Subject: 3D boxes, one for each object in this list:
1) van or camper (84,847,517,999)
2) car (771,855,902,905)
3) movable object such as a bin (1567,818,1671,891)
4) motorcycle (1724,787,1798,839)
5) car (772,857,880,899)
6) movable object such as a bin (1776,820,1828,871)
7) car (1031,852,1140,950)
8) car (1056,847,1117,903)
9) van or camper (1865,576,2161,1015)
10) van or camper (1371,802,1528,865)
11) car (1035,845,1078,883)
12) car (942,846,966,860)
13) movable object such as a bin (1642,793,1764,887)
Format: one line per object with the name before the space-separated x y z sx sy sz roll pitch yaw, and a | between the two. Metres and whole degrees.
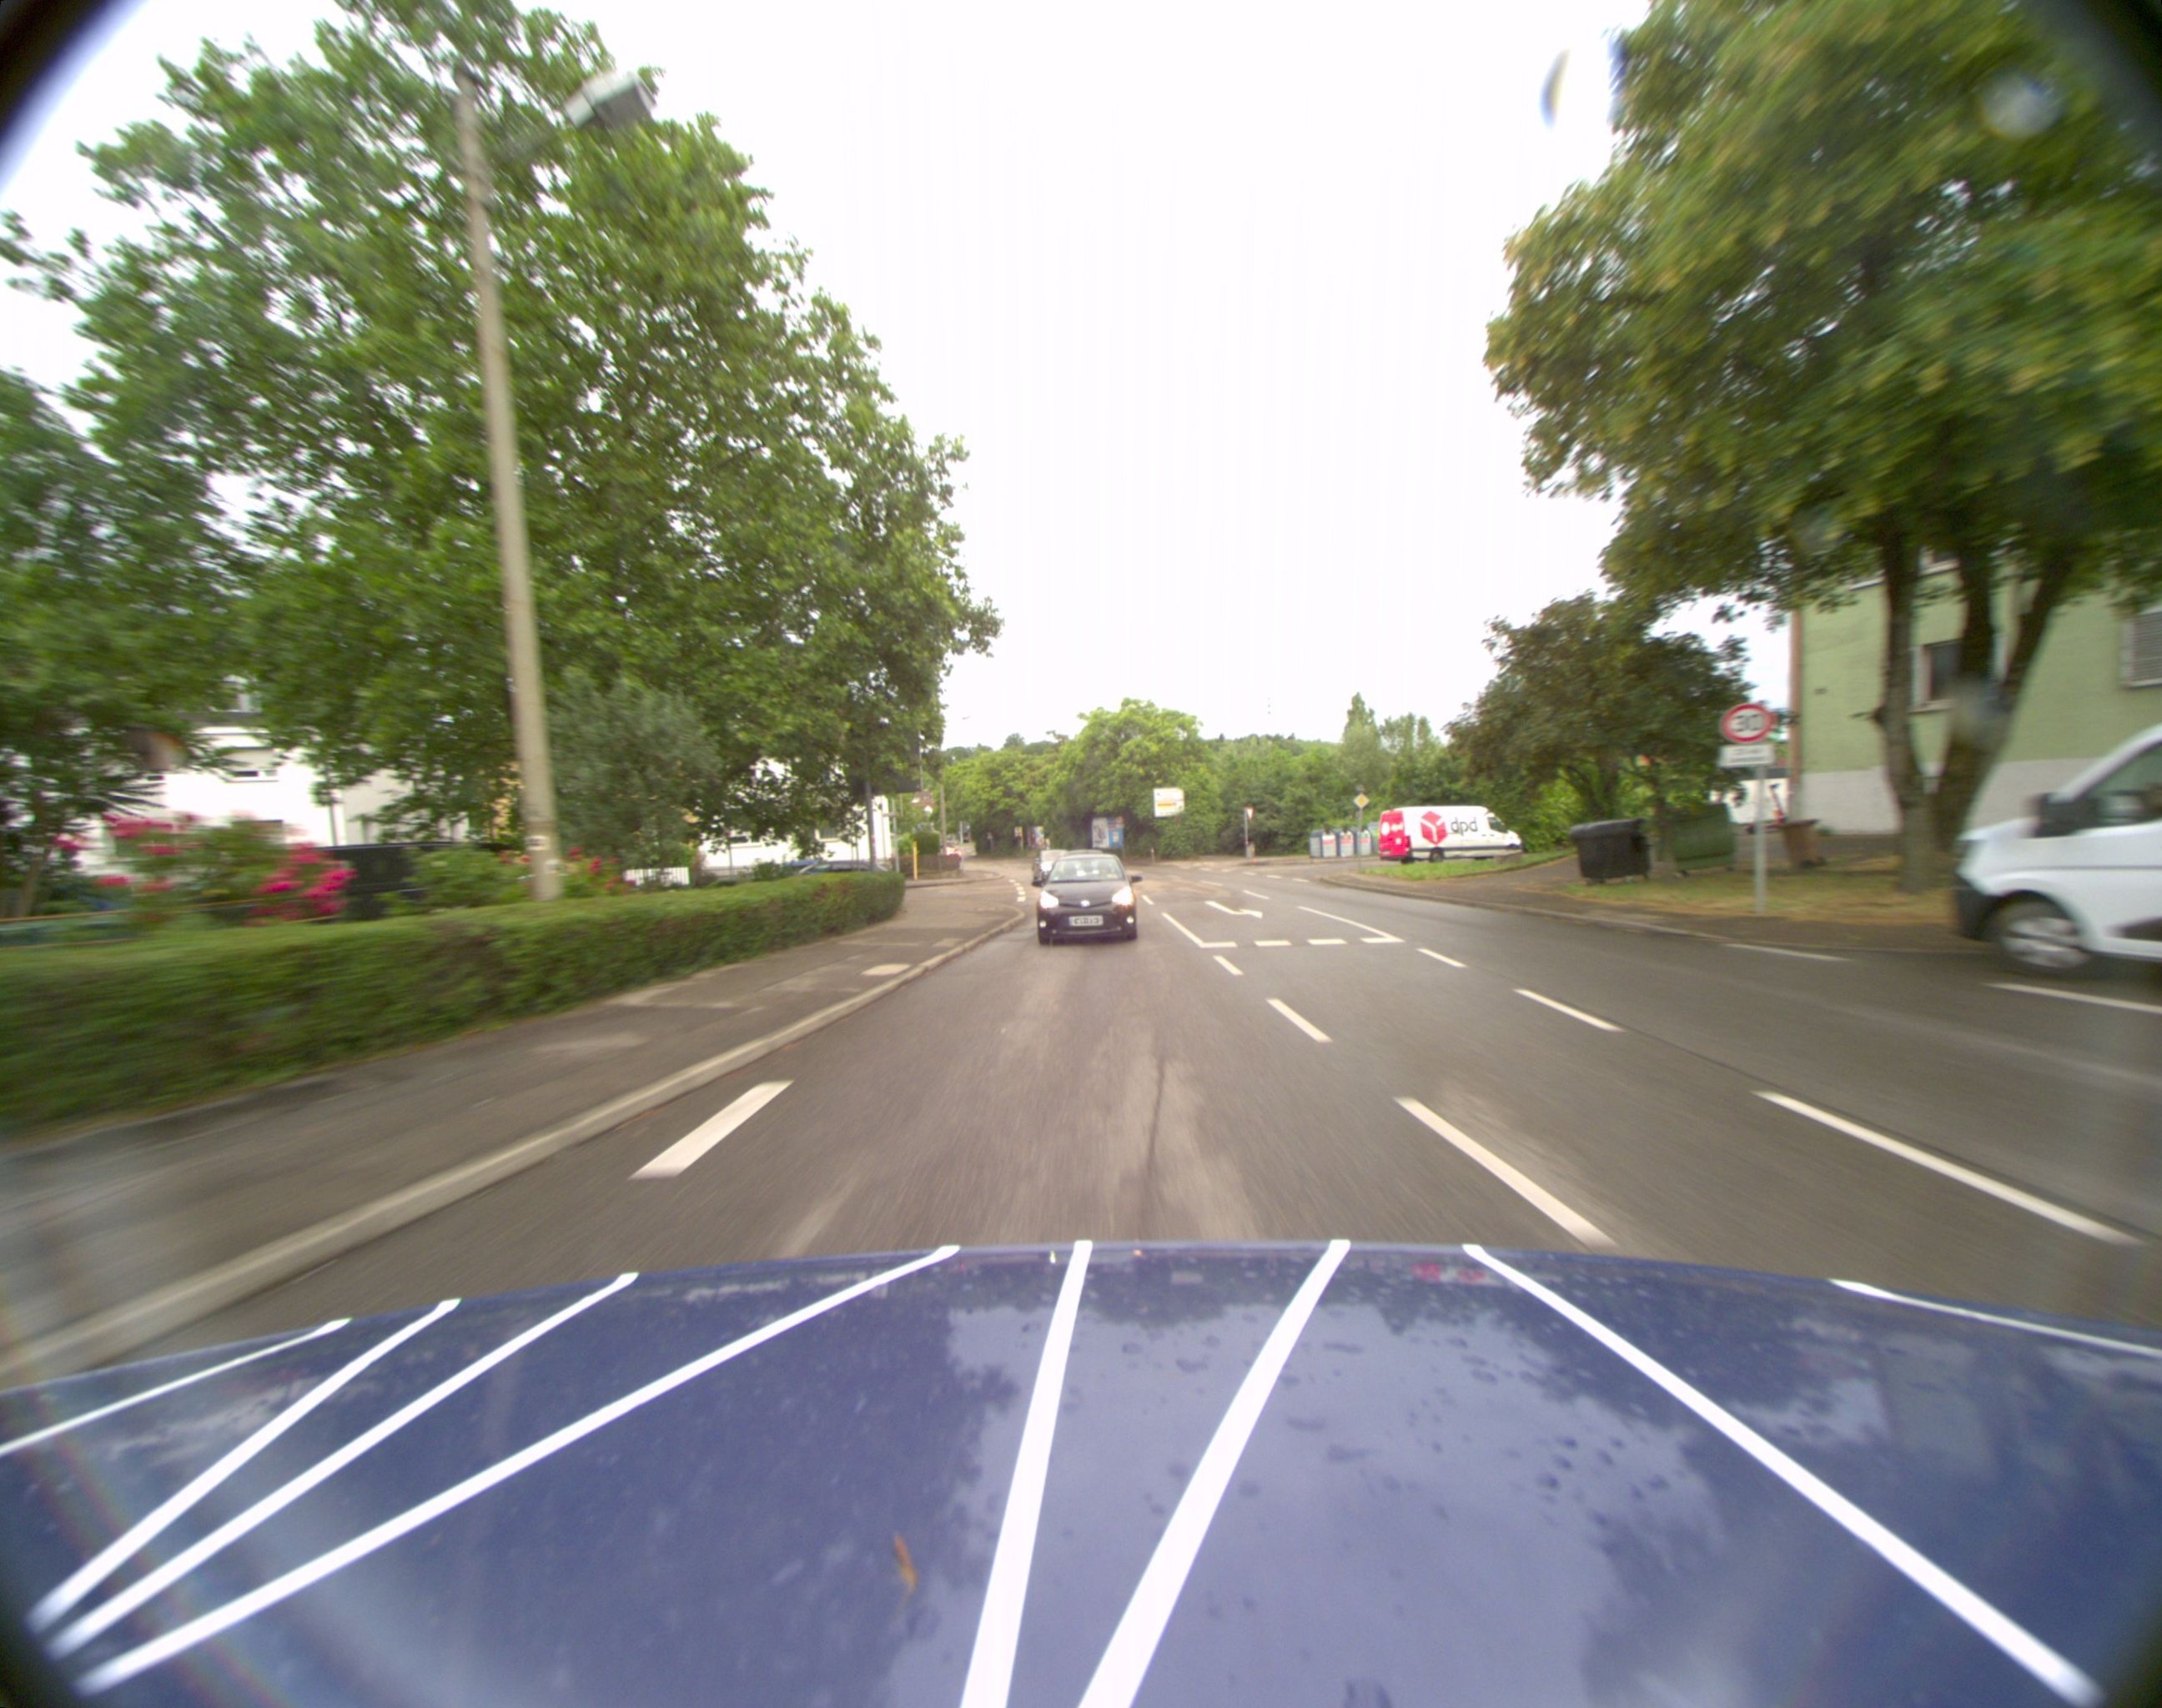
van or camper | -12.069 0.957 12.227 4.332 1.893 1.996 -3 1 -21
car | -9.006 0.897 28.050 4.396 1.505 1.996 -3 1 -21
movable object such as a bin | 11.837 0.014 16.735 1.475 1.432 1.374 -4 -2 -36
motorcycle | 17.769 -1.075 19.874 1.481 1.190 0.431 -6 4 2
car | -10.353 0.937 30.843 4.004 1.456 1.857 -3 1 -22
movable object such as a bin | 13.569 -0.159 14.303 0.542 0.904 0.561 -4 -1 -36
car | -0.004 0.738 14.055 1.645 1.450 3.999 -3 0 -2
car | 0.099 0.601 23.993 1.645 1.548 3.627 -3 1 -3
van or camper | 9.447 -0.467 4.041 2.705 3.316 7.761 -3 1 3
van or camper | 16.819 -0.945 34.687 6.701 2.507 2.220 -3 1 -18
car | -1.191 0.410 34.892 1.708 1.548 3.998 -3 1 -5
car | -15.903 -0.111 95.119 1.844 1.548 5.564 -3 1 -20
movable object such as a bin | 12.727 -0.285 15.557 1.580 1.750 1.450 -4 -1 -36
